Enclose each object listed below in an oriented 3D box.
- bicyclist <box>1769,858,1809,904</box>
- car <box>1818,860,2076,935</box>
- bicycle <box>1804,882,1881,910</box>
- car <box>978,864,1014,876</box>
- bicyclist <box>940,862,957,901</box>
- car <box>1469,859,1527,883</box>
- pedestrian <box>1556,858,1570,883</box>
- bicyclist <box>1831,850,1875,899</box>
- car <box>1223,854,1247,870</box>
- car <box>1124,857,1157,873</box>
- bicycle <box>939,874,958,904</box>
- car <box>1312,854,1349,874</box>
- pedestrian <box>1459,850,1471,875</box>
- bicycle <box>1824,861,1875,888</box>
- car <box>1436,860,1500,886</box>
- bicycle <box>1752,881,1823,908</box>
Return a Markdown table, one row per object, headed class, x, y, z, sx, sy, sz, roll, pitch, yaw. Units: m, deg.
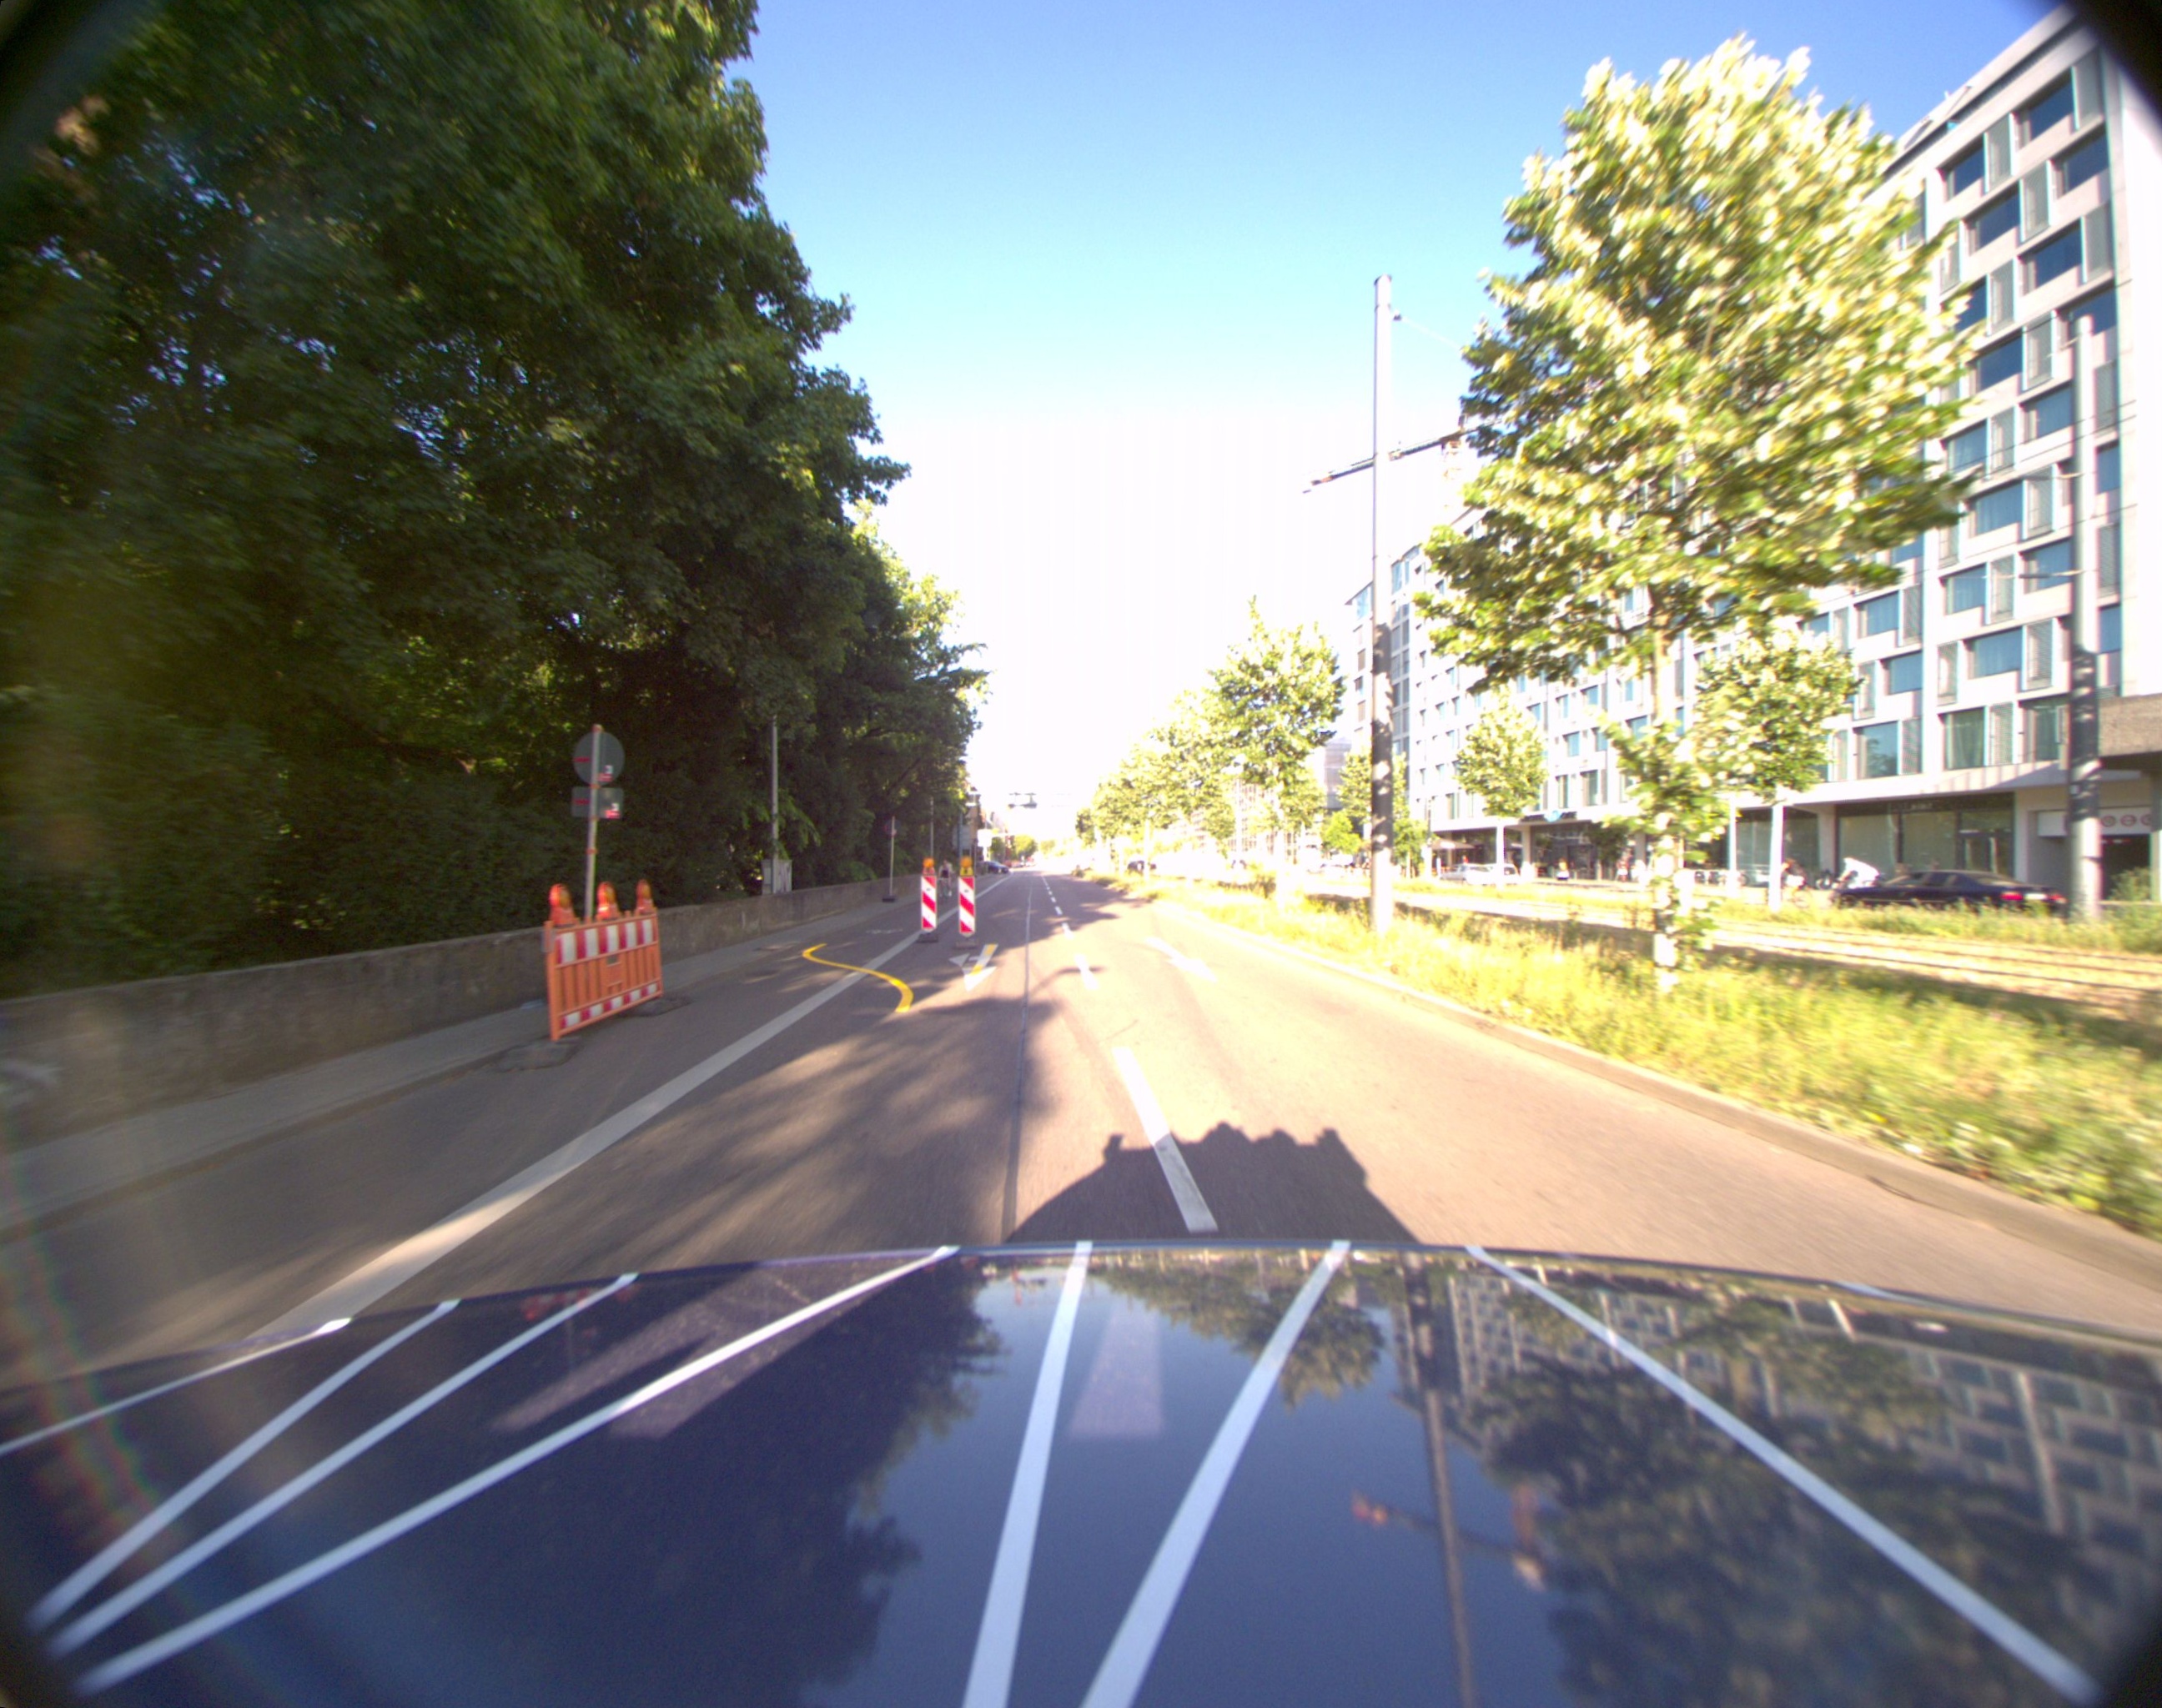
| class | x | y | z | sx | sy | sz | roll | pitch | yaw |
| --- | --- | --- | --- | --- | --- | --- | --- | --- | --- |
| bicyclist | 25.383 | 0.953 | 27.251 | 0.539 | 1.647 | 0.919 | 0 | 0 | -5 |
| car | 23.436 | 1.079 | 20.887 | 1.875 | 1.692 | 4.486 | -2 | 1 | -3 |
| bicycle | 26.454 | 1.440 | 26.447 | 0.437 | 0.857 | 2.102 | 0 | 0 | -5 |
| car | -10.064 | 1.869 | 89.511 | 3.988 | 1.346 | 2.004 | 0 | 0 | 39 |
| bicyclist | -4.841 | 0.979 | 27.824 | 0.516 | 1.399 | 0.805 | 0 | 0 | -4 |
| car | 27.522 | 1.105 | 50.260 | 1.875 | 1.457 | 3.388 | -2 | 1 | -3 |
| pedestrian | 31.388 | 1.047 | 49.480 | 0.479 | 1.626 | 0.597 | 0 | 0 | -3 |
| bicyclist | 26.525 | 0.696 | 26.116 | 0.539 | 1.647 | 0.919 | 0 | 0 | -5 |
| car | 17.902 | 0.932 | 88.514 | 1.875 | 1.742 | 3.791 | -2 | 1 | -3 |
| car | 7.131 | 1.289 | 91.581 | 3.789 | 1.742 | 1.876 | -2 | 1 | 3 |
| bicycle | -4.830 | 1.253 | 27.720 | 0.506 | 1.018 | 1.505 | 0 | 0 | -3 |
| car | 21.704 | 0.815 | 66.094 | 1.875 | 1.582 | 3.481 | -2 | 1 | -3 |
| pedestrian | 31.359 | 0.707 | 62.019 | 0.622 | 2.002 | 0.725 | 0 | 0 | -3 |
| bicycle | 35.840 | 0.952 | 35.471 | 0.395 | 1.223 | 1.718 | 0 | 0 | -13 |
| car | 22.749 | 1.091 | 44.830 | 1.613 | 1.370 | 3.878 | -2 | 1 | -3 |
| bicycle | 25.383 | 1.425 | 27.342 | 0.437 | 0.857 | 2.102 | 0 | 0 | -5 |
